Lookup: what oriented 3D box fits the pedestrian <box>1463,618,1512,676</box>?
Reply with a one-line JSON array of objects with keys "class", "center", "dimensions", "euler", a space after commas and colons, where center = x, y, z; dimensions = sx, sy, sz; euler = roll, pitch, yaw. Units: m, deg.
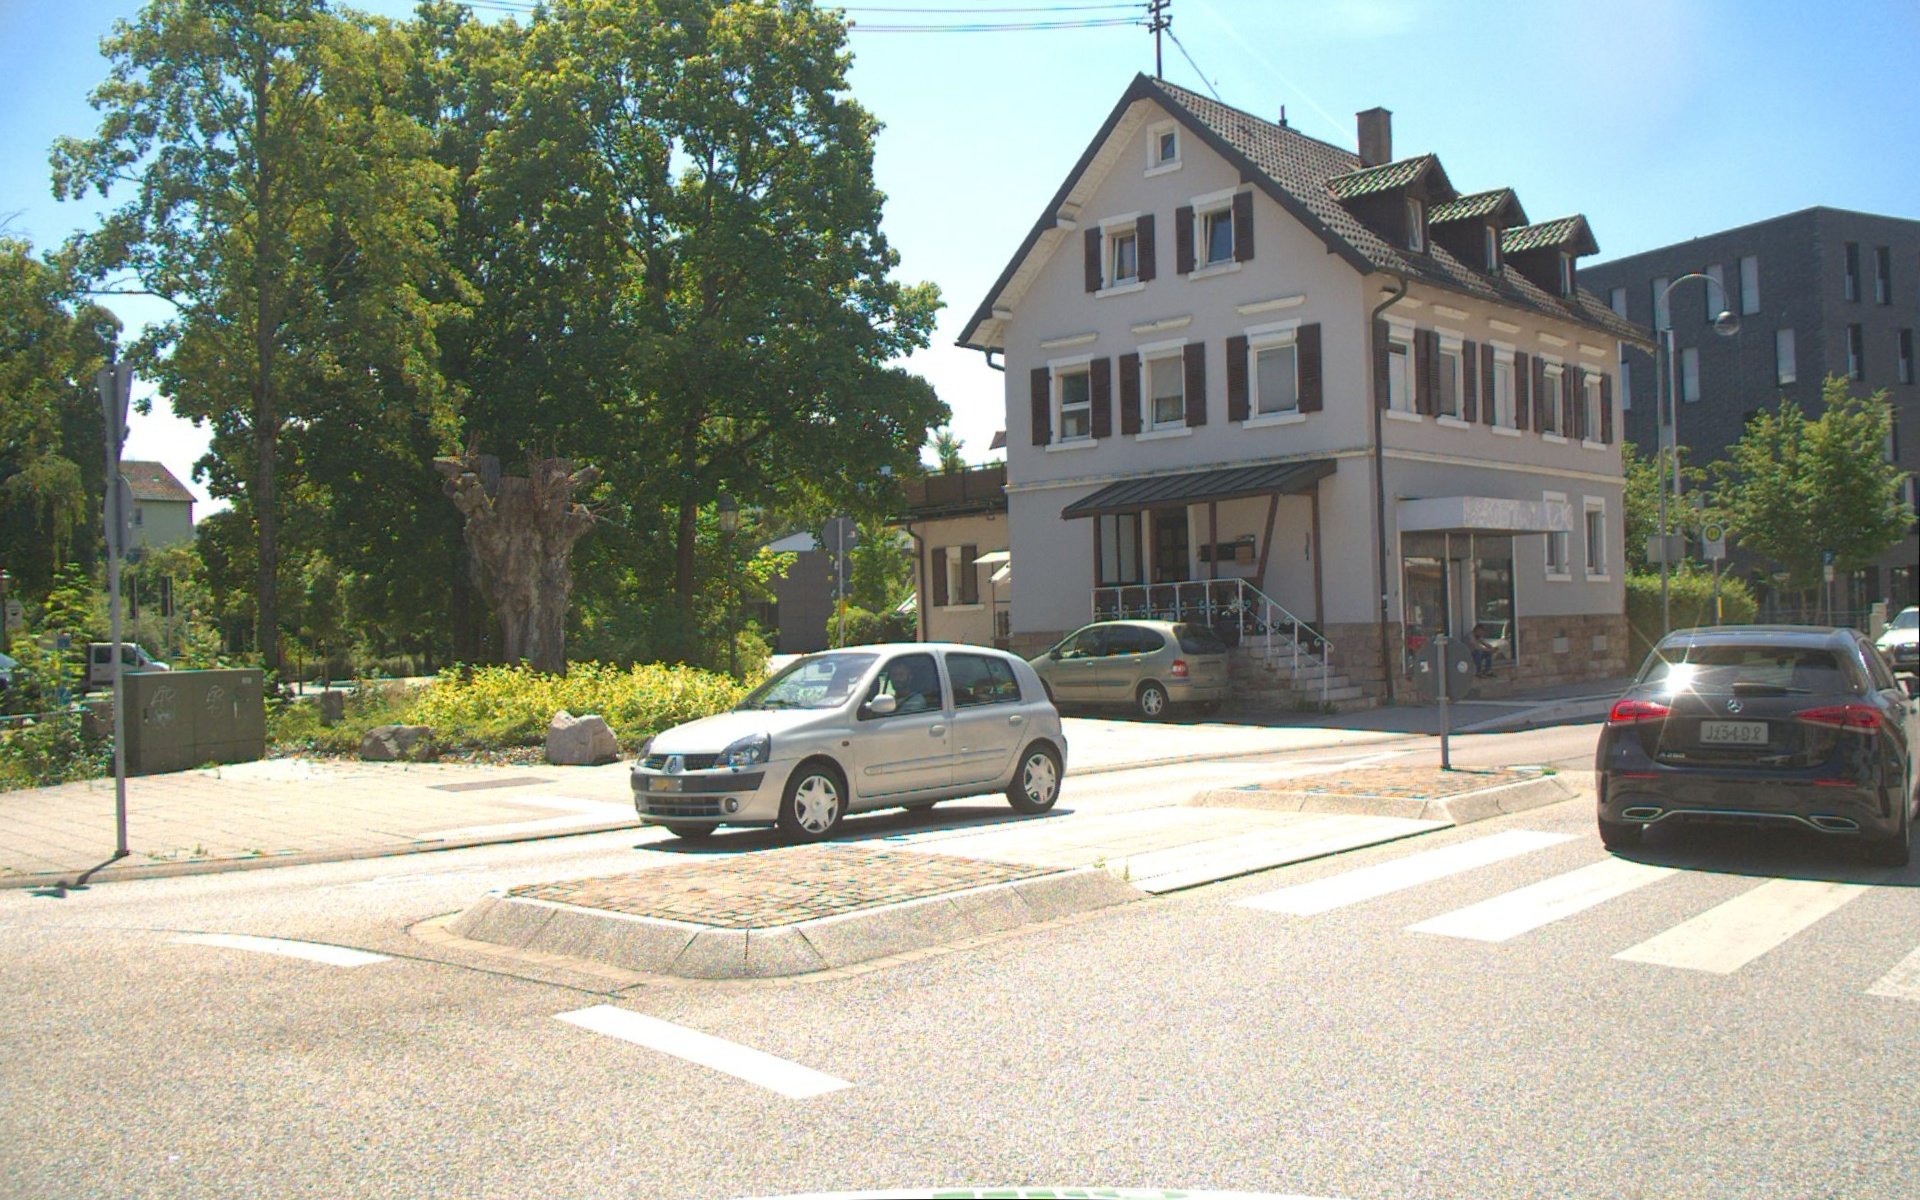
[{"class": "pedestrian", "center": [10.045, 0.899, 31.522], "dimensions": [0.659, 1.073, 0.696], "euler": [-2, -1, 39]}]

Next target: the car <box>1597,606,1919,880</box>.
[{"class": "car", "center": [5.797, 0.807, 11.560], "dimensions": [1.731, 1.483, 4.427], "euler": [0, 0, 32]}]

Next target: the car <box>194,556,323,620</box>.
[{"class": "car", "center": [-23.843, -0.405, 56.328], "dimensions": [3.934, 2.049, 1.985], "euler": [-2, 0, -24]}]

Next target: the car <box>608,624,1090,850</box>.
[{"class": "car", "center": [-0.759, 0.998, 13.028], "dimensions": [1.523, 1.437, 3.694], "euler": [-6, -3, 43]}]

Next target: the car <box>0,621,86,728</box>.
[{"class": "car", "center": [-19.935, 1.499, 32.972], "dimensions": [3.905, 2.049, 2.000], "euler": [-2, -1, 0]}]

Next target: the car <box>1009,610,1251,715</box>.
[{"class": "car", "center": [2.903, 1.074, 28.710], "dimensions": [3.931, 1.668, 1.746], "euler": [-2, -1, 44]}]

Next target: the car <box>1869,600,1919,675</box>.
[{"class": "car", "center": [22.025, 0.780, 37.187], "dimensions": [1.652, 1.570, 4.055], "euler": [-5, -3, 44]}]
